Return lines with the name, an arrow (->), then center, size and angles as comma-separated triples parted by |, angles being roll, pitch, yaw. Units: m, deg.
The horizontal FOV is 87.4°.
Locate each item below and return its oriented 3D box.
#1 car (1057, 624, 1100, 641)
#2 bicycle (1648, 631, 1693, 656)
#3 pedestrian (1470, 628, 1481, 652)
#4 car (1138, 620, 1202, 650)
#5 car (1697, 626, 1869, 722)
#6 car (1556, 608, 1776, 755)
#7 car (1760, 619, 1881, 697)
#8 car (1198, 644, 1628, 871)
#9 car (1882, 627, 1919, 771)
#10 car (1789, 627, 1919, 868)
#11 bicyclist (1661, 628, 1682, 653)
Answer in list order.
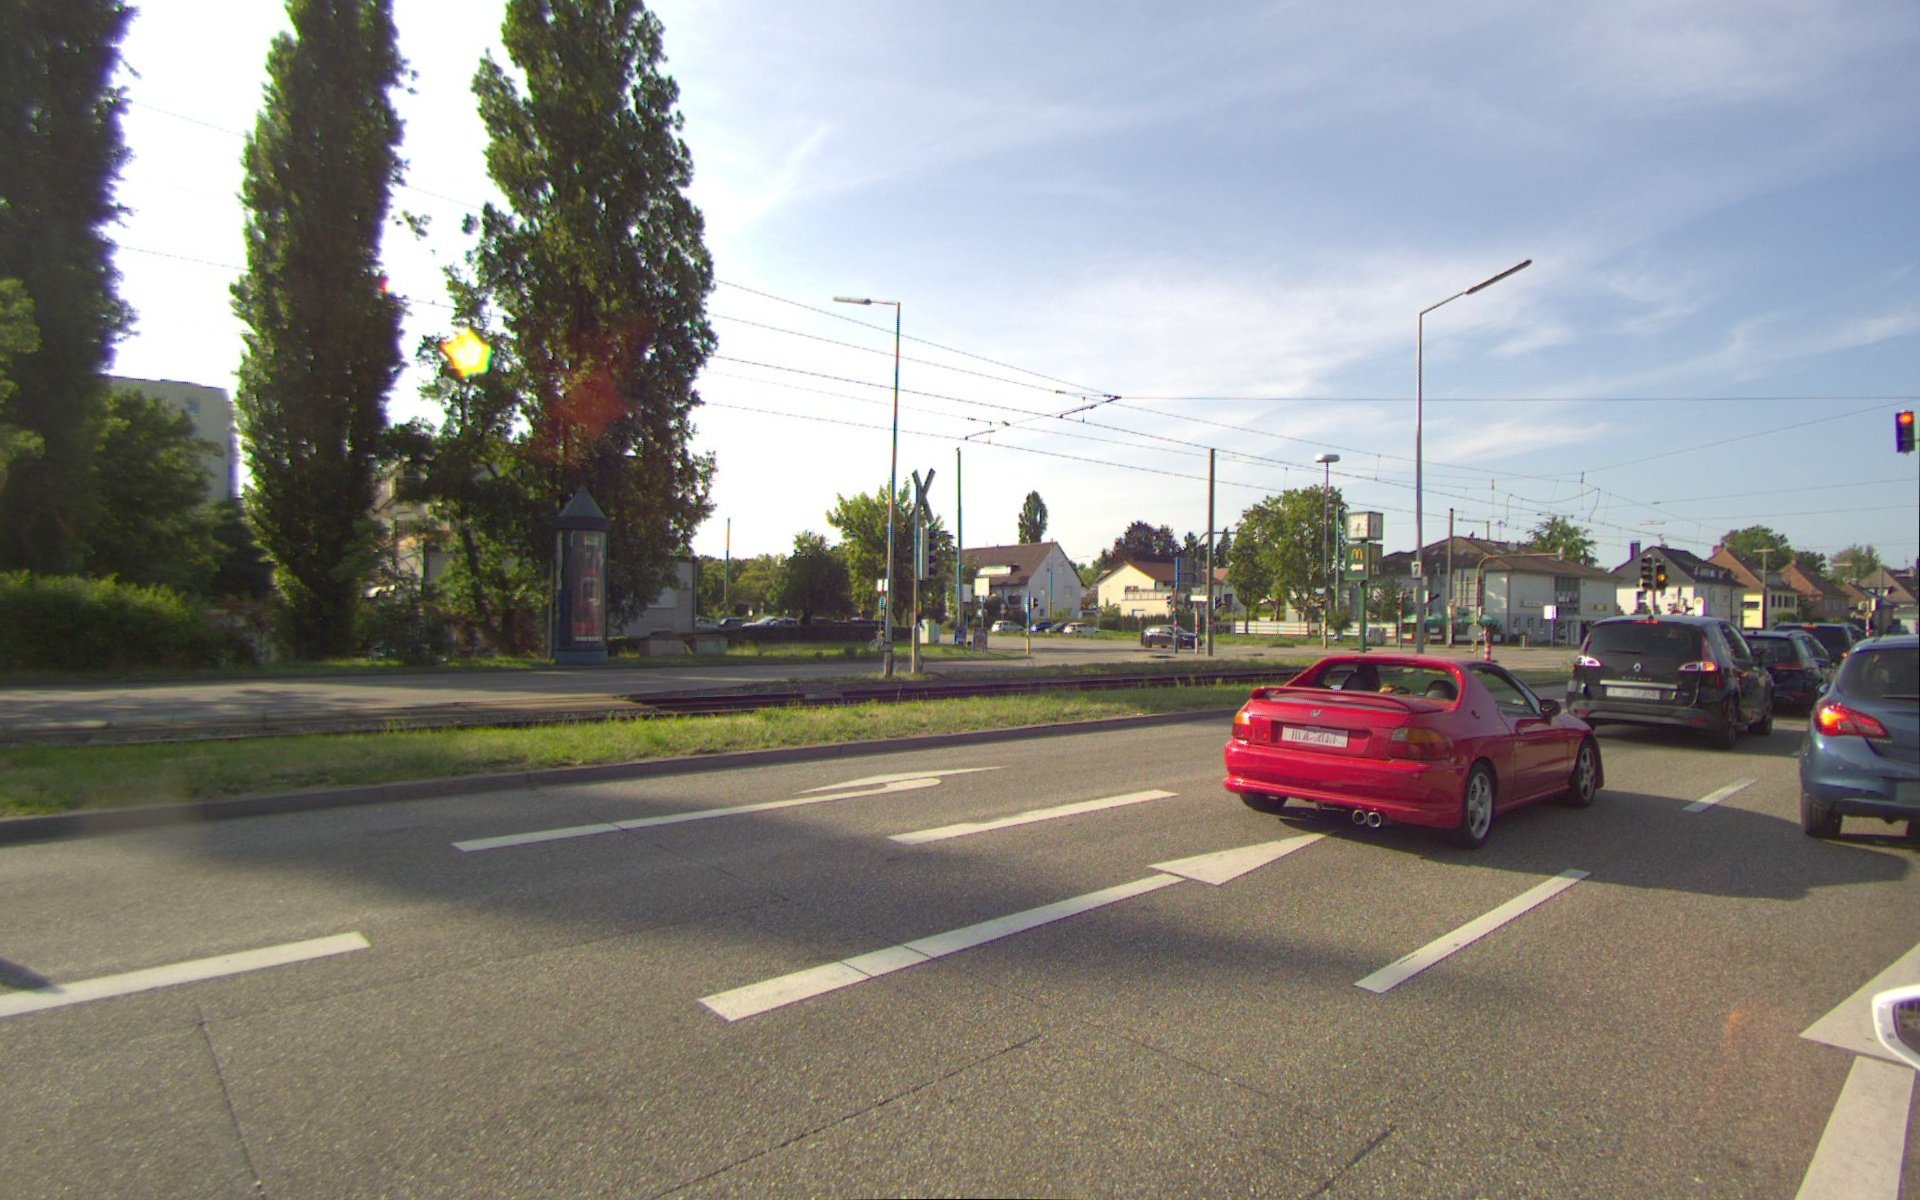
car -> 12.397, 3.416, 105.263 | 4.178, 1.706, 1.981 | 3, -1, -35
bicycle -> 42.170, 2.562, 59.600 | 2.050, 1.365, 1.103 | 2, -1, 40
pedestrian -> 35.196, 2.730, 68.608 | 0.536, 1.620, 0.507 | 2, -1, -43
car -> 13.253, 2.199, 63.516 | 1.507, 1.816, 3.955 | 1, -1, -39
car -> 15.129, 1.261, 18.376 | 4.517, 1.528, 1.685 | 2, -1, -41
car -> 9.726, 1.000, 13.722 | 4.057, 1.693, 1.746 | 2, -1, -44
car -> 20.294, 1.299, 23.619 | 4.707, 1.673, 1.493 | 2, -2, -41
car -> 3.700, 1.020, 7.889 | 3.819, 1.222, 1.715 | 2, 0, -43
car -> 12.339, 1.125, 12.013 | 3.951, 1.572, 1.690 | 2, -2, -44
car -> 7.751, 0.985, 7.754 | 1.724, 1.525, 4.196 | 0, -1, 45
bicyclist -> 42.205, 2.406, 59.565 | 0.873, 1.450, 1.131 | 2, -1, 40
